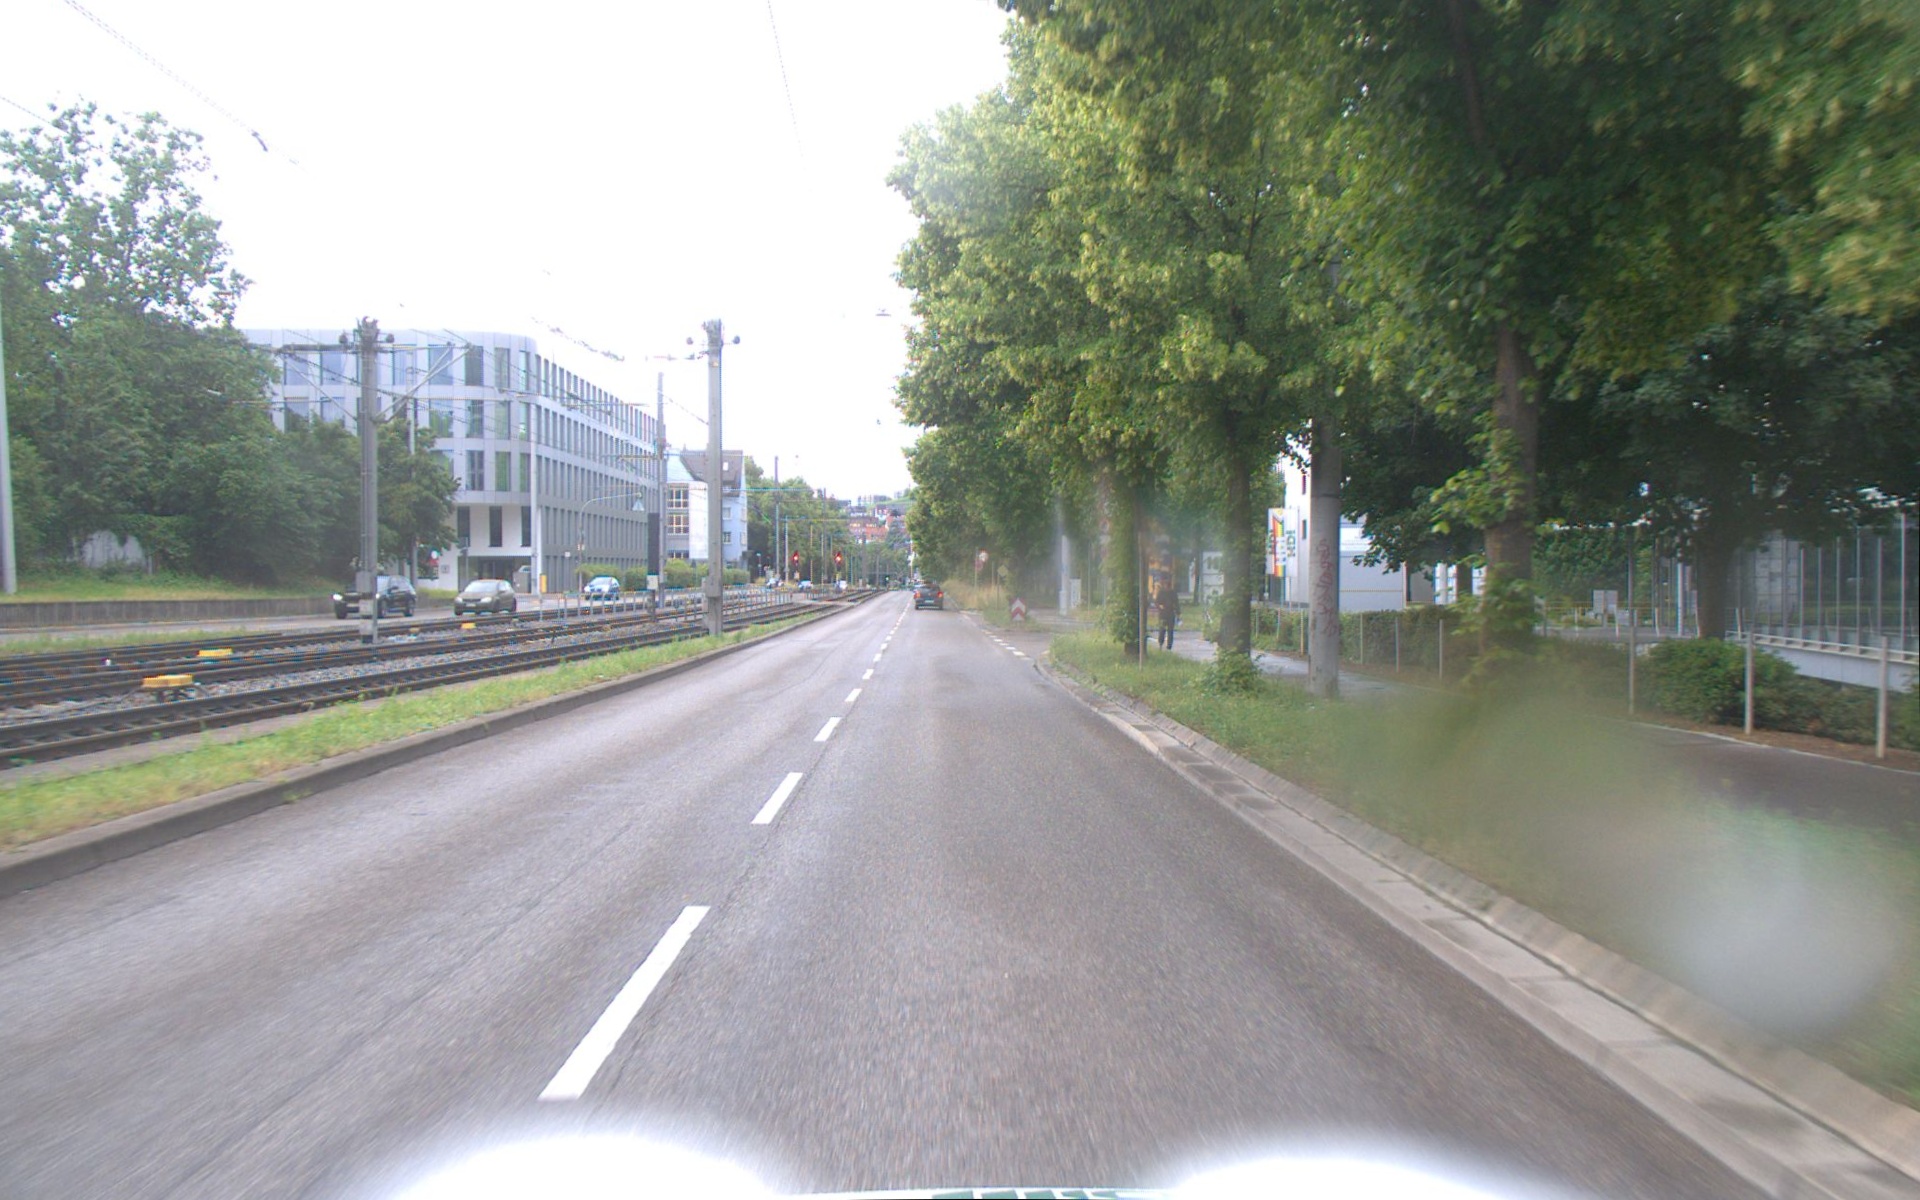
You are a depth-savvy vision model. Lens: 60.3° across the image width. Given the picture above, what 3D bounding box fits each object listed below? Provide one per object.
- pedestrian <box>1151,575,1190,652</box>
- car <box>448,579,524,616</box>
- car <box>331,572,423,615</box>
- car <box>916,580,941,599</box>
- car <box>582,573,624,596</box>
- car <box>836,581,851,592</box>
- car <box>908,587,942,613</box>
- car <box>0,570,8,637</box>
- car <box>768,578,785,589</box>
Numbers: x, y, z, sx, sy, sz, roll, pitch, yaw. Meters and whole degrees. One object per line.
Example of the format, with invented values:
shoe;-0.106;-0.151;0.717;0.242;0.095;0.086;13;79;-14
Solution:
pedestrian;5.099;0.316;40.111;0.809;1.828;0.867;1;0;-1
car;-20.010;-0.122;69.944;1.852;1.512;4.309;0;1;2
car;-22.887;-0.277;65.107;1.908;1.623;4.847;0;1;0
car;-2.543;-0.880;134.112;1.942;1.466;4.473;0;1;-1
car;-22.620;-1.007;104.915;1.724;1.422;3.901;0;1;2
car;-17.712;-2.032;251.906;1.863;1.673;4.884;0;1;0
car;-2.035;0.009;97.289;1.942;1.466;4.473;0;1;-1
car;-24.165;0.114;37.521;2.046;1.616;5.160;0;1;2
car;-21.763;-1.947;196.277;1.720;1.265;3.987;0;1;-1
